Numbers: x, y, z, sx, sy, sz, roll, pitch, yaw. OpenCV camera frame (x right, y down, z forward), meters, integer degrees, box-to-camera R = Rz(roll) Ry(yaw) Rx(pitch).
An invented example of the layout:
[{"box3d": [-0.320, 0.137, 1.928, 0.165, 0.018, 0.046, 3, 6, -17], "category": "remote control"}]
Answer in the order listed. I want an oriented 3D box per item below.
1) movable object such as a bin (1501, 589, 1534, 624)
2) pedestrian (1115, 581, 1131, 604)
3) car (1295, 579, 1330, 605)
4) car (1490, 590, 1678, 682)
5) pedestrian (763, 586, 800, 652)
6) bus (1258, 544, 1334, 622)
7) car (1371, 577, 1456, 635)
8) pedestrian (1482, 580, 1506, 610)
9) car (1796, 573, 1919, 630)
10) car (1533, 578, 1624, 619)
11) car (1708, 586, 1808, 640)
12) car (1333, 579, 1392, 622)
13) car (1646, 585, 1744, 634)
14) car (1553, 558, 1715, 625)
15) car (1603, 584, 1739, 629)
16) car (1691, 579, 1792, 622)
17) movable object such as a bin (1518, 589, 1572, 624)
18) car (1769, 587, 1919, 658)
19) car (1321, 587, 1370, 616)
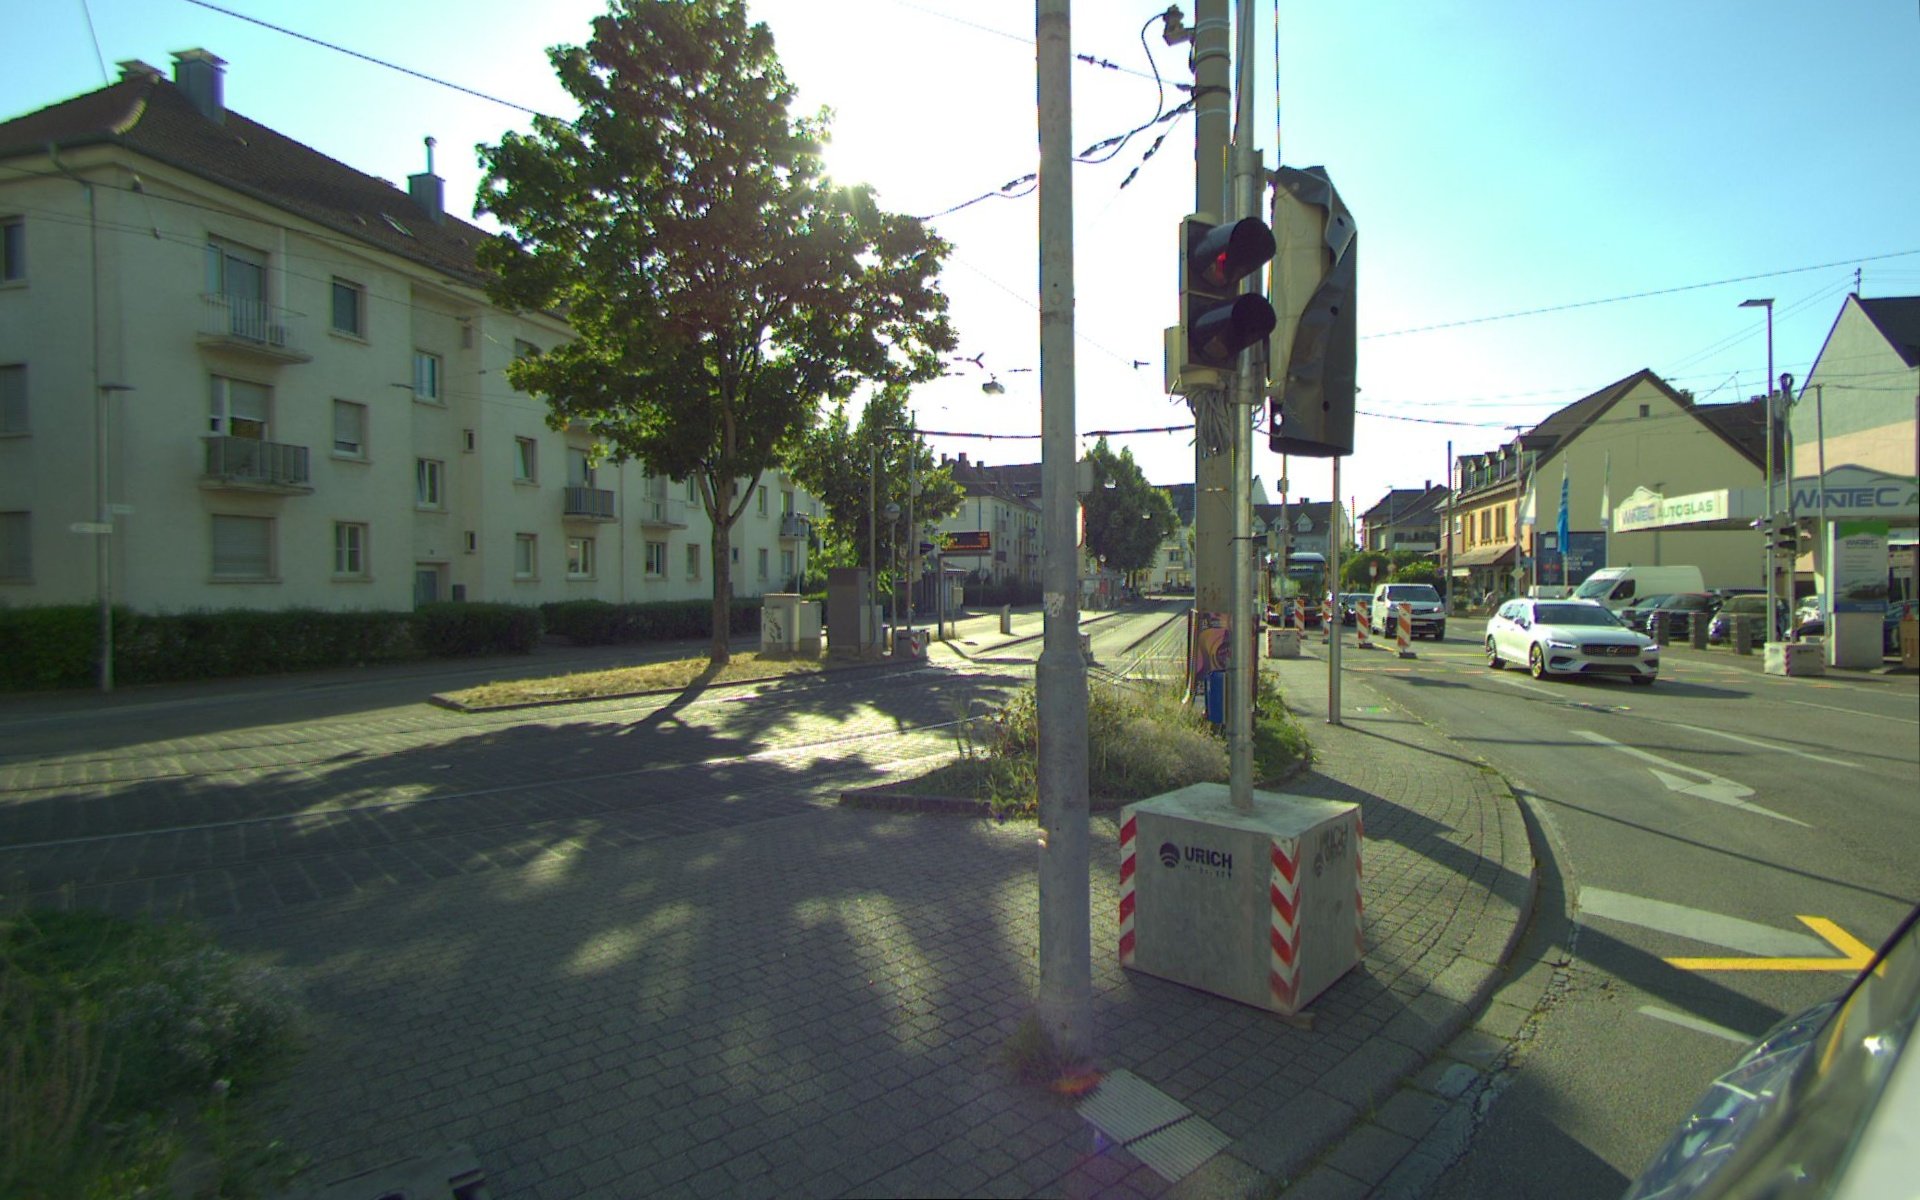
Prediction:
[{"box3d": [23.951, 0.258, 43.514, 0.782, 1.482, 1.046, 0, 1, -43], "category": "movable object such as a bin"}, {"box3d": [11.665, -0.511, 72.538, 0.808, 1.631, 0.844, 0, 1, -19], "category": "pedestrian"}, {"box3d": [24.382, -0.577, 70.142, 1.943, 1.726, 4.801, 1, 1, 15], "category": "car"}, {"box3d": [11.472, 0.571, 18.943, 1.796, 1.472, 4.198, 1, 1, 15], "category": "car"}, {"box3d": [-4.597, 0.474, 26.122, 0.777, 1.640, 0.826, 1, 1, 4], "category": "pedestrian"}, {"box3d": [16.281, -0.826, 49.751, 2.711, 3.344, 11.977, 1, 1, 15], "category": "bus"}, {"box3d": [15.682, 0.150, 35.235, 1.943, 1.850, 5.009, 1, 1, 15], "category": "car"}, {"box3d": [30.910, -0.286, 58.586, 0.793, 1.735, 0.861, 0, 1, -10], "category": "pedestrian"}, {"box3d": [32.702, 0.016, 36.902, 1.717, 1.968, 4.240, 0, 1, 14], "category": "car"}, {"box3d": [31.517, -0.100, 51.669, 3.618, 2.039, 1.446, 1, 1, 13], "category": "car"}, {"box3d": [23.822, 0.341, 30.187, 3.310, 1.505, 1.542, -1, 1, -36], "category": "car"}, {"box3d": [18.567, -0.002, 46.892, 1.943, 1.850, 5.009, 1, 1, 15], "category": "car"}, {"box3d": [24.206, 0.266, 33.311, 3.370, 1.515, 1.595, -1, 1, -35], "category": "car"}, {"box3d": [25.695, -0.337, 38.684, 4.891, 2.485, 2.118, 0, 1, -6], "category": "car"}, {"box3d": [25.362, 0.207, 36.133, 3.946, 1.515, 1.746, 0, 1, -13], "category": "car"}, {"box3d": [38.459, 0.004, 49.857, 3.618, 2.039, 1.446, 1, 1, 13], "category": "car"}, {"box3d": [25.480, 0.258, 44.073, 1.759, 1.482, 1.050, 0, 1, -10], "category": "movable object such as a bin"}, {"box3d": [21.034, 0.499, 22.274, 1.895, 1.456, 4.692, 1, 1, -33], "category": "car"}, {"box3d": [20.400, 0.043, 53.720, 1.943, 1.477, 4.801, 1, 1, 15], "category": "car"}]
